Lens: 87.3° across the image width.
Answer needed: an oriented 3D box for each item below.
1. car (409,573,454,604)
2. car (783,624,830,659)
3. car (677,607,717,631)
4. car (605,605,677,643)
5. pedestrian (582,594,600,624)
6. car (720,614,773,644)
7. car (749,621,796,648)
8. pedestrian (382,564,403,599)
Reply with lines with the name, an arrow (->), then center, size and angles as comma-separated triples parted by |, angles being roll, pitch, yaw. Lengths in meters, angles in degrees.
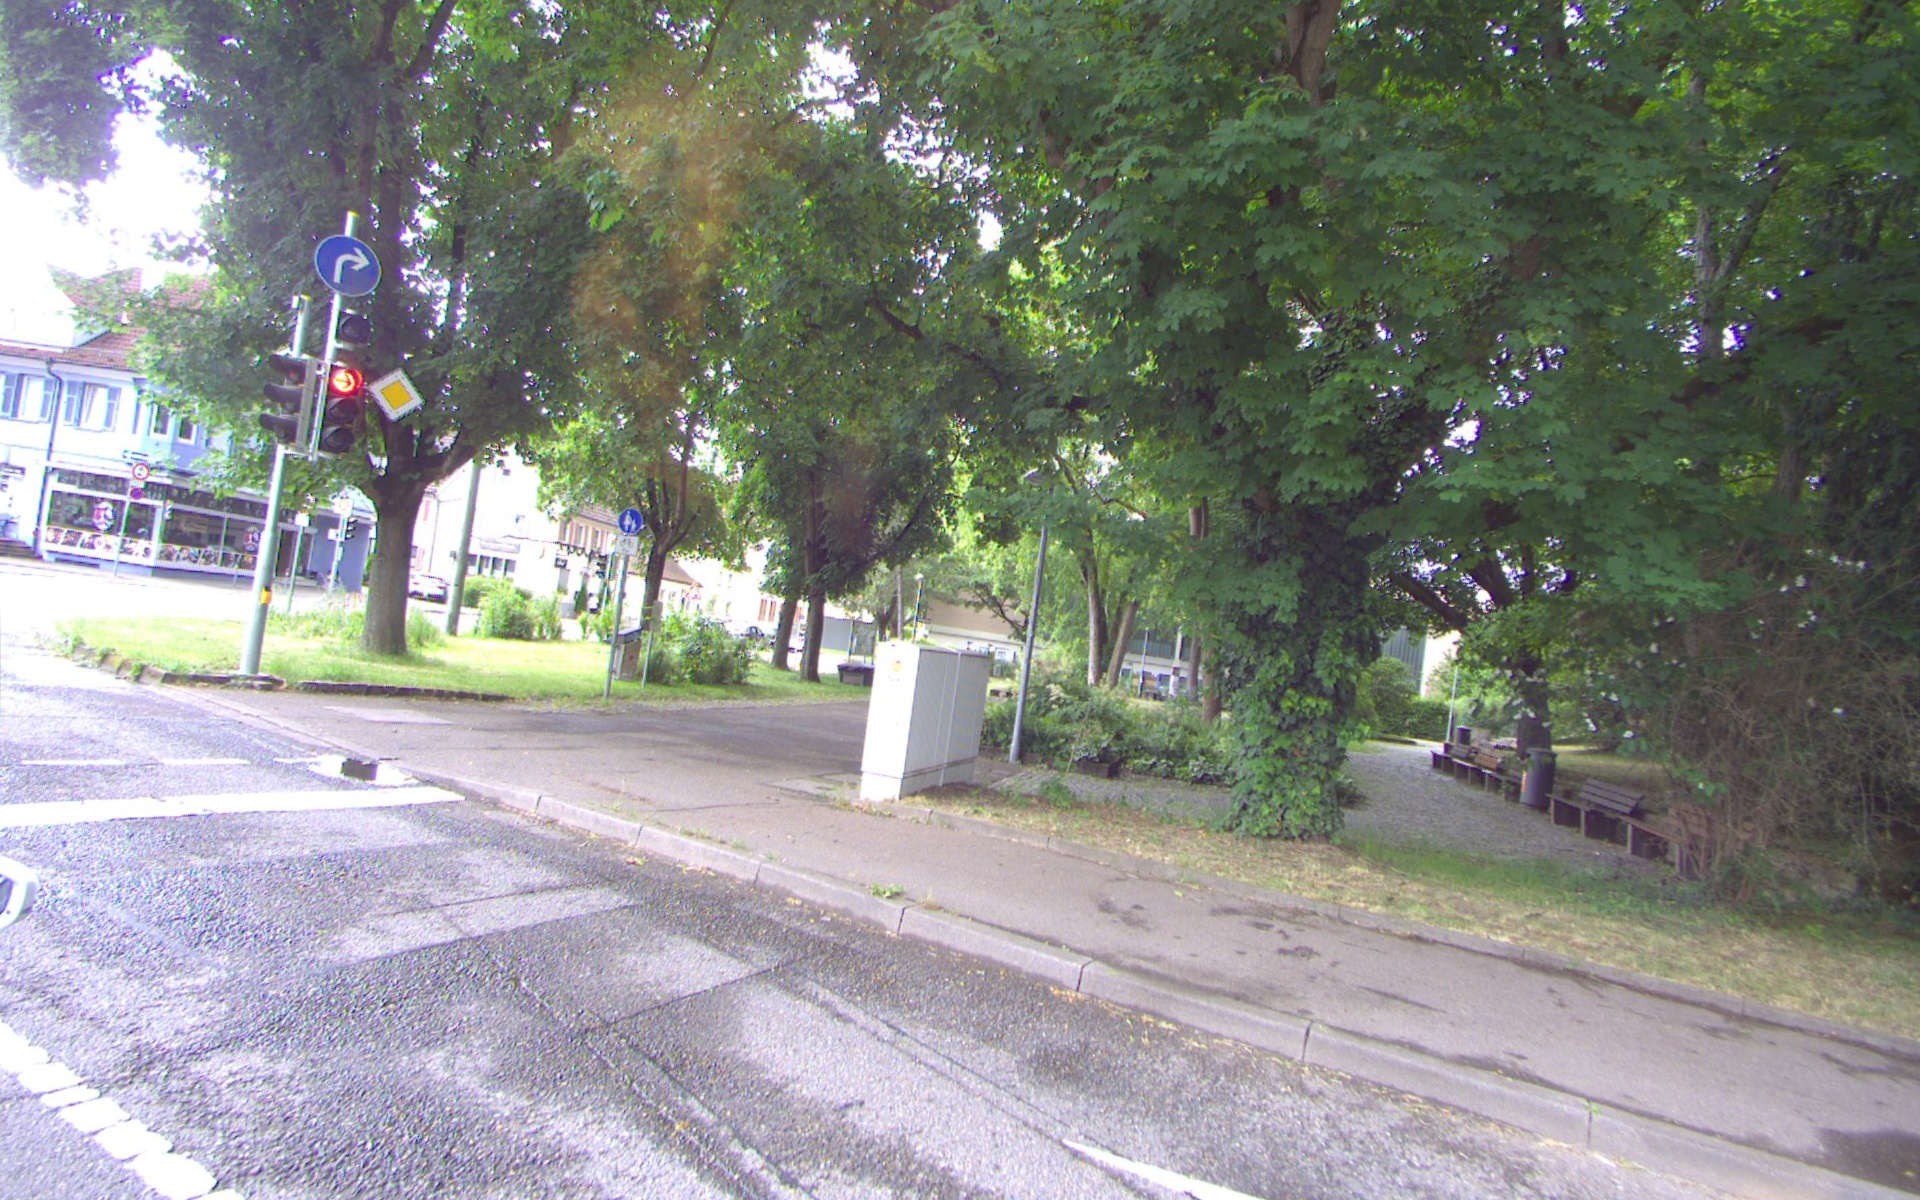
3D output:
car -> -27.871, -0.602, 53.147 | 1.479, 1.384, 3.166 | 8, -2, -19
car -> -10.057, 2.759, 66.178 | 1.750, 2.037, 4.005 | 7, -2, 7
car -> -19.372, 1.443, 74.252 | 1.528, 1.436, 4.005 | 7, -2, 4
car -> -14.009, 1.090, 44.360 | 1.530, 1.336, 3.514 | 7, -2, 9
pedestrian -> -21.809, 0.534, 59.392 | 0.600, 1.668, 0.610 | 7, -1, 3
car -> -11.569, 1.597, 54.825 | 1.530, 1.336, 3.514 | 7, -2, 9
car -> -11.168, 2.071, 60.109 | 1.530, 1.336, 3.514 | 7, -2, 8
pedestrian -> -26.777, -0.873, 47.461 | 0.577, 1.535, 0.459 | 7, -1, -8
